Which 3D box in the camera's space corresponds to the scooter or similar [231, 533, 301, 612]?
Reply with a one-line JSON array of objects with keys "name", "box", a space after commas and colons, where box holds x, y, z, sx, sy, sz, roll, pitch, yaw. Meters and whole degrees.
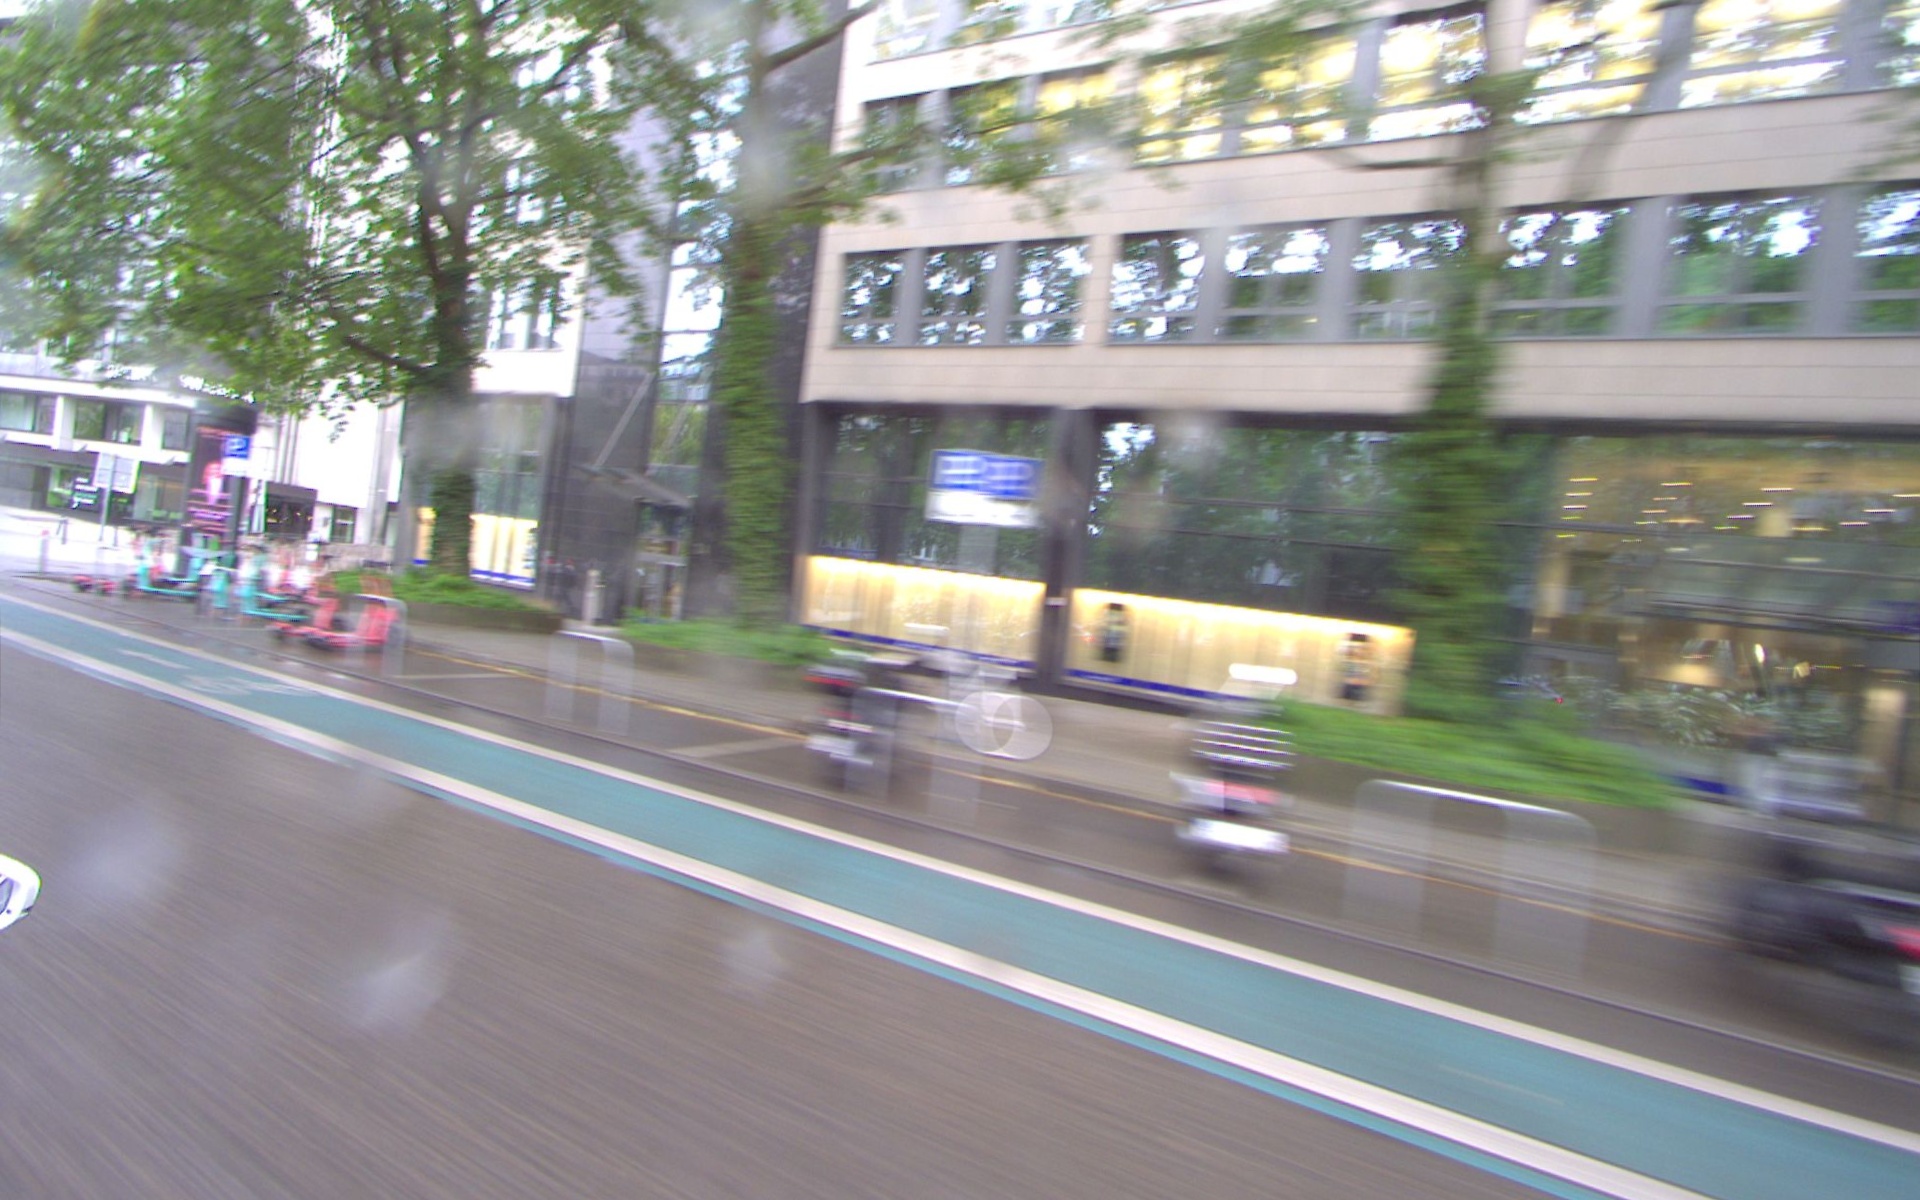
[{"name": "scooter or similar", "box": [-12.743, -0.509, 18.470, 1.272, 1.276, 0.488, 9, 2, 31]}]

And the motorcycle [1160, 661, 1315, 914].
[{"name": "motorcycle", "box": [1.922, 1.228, 7.264, 0.715, 1.391, 1.962, 8, 1, 10]}]

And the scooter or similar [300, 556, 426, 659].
[{"name": "scooter or similar", "box": [-8.236, 0.124, 13.907, 0.528, 1.294, 1.289, 9, 2, 35]}]

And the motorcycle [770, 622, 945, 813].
[{"name": "motorcycle", "box": [-0.832, 0.941, 8.855, 0.715, 1.391, 1.961, 8, 1, 15]}]

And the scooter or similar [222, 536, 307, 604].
[{"name": "scooter or similar", "box": [-14.185, -0.610, 20.528, 1.269, 1.212, 0.489, 7, 0, 0]}]

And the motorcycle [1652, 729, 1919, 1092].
[{"name": "motorcycle", "box": [4.731, 1.557, 5.435, 0.715, 1.391, 1.962, 8, 1, 10]}]

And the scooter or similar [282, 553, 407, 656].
[{"name": "scooter or similar", "box": [-8.615, 0.084, 14.121, 0.528, 1.294, 1.289, 9, 2, 35]}]

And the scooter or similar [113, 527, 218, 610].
[{"name": "scooter or similar", "box": [-13.912, -0.533, 17.632, 0.482, 1.276, 1.287, 10, 2, 43]}]

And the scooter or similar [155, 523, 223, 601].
[{"name": "scooter or similar", "box": [-14.457, -0.712, 18.852, 1.272, 1.276, 0.488, 9, 2, 31]}]

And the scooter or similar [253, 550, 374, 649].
[{"name": "scooter or similar", "box": [-9.225, 0.018, 14.408, 0.527, 1.294, 1.293, 8, 2, 20]}]

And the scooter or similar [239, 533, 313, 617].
[{"name": "scooter or similar", "box": [-11.907, -0.441, 17.514, 1.272, 1.276, 0.488, 9, 2, 31]}]

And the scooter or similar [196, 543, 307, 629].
[{"name": "scooter or similar", "box": [-11.415, -0.209, 16.245, 0.481, 1.252, 1.290, 9, 2, 33]}]

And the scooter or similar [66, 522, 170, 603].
[{"name": "scooter or similar", "box": [-15.019, -0.661, 17.963, 0.482, 1.276, 1.287, 10, 2, 43]}]

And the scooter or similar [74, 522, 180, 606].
[{"name": "scooter or similar", "box": [-14.547, -0.616, 17.584, 0.482, 1.276, 1.287, 10, 2, 43]}]

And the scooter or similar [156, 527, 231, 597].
[{"name": "scooter or similar", "box": [-14.967, -0.746, 19.637, 1.270, 1.212, 0.489, 6, 0, 22]}]

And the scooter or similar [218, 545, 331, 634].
[{"name": "scooter or similar", "box": [-10.792, -0.145, 15.866, 0.481, 1.252, 1.290, 9, 2, 33]}]

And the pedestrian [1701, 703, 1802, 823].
[{"name": "pedestrian", "box": [12.600, 2.584, 16.037, 0.718, 1.714, 0.825, 7, 1, -16]}]

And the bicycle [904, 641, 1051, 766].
[{"name": "bicycle", "box": [0.141, 1.050, 10.559, 0.632, 1.040, 1.750, 7, -1, -30]}]

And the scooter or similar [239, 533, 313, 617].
[{"name": "scooter or similar", "box": [-11.907, -0.441, 17.514, 1.272, 1.276, 0.488, 9, 2, 31]}]
